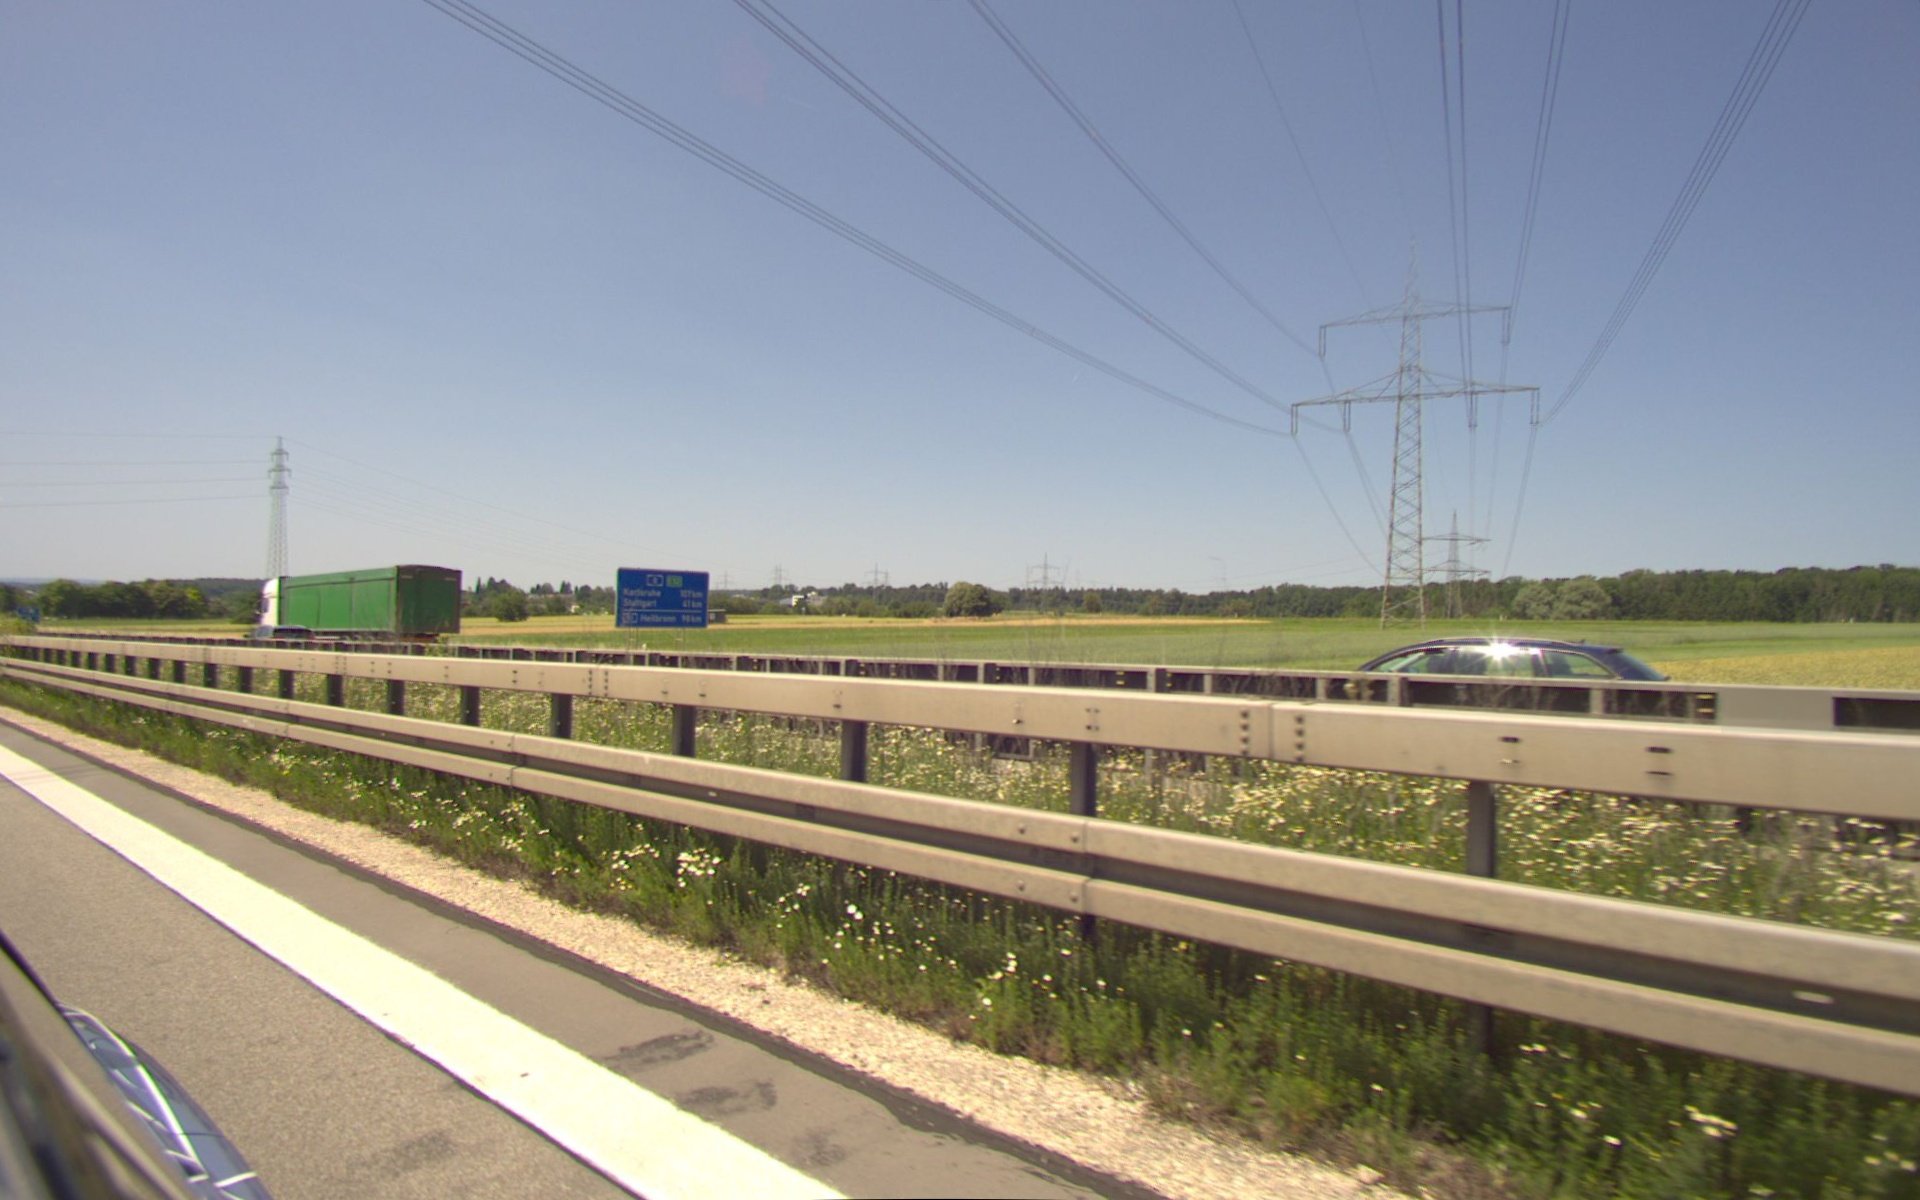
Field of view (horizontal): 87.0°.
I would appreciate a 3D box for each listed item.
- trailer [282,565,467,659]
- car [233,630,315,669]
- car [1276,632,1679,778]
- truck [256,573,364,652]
[{"bbox_3d":[-25.682,0.498,43.923,12.524,3.621,2.726,-1,0,40],"label":"trailer"},{"bbox_3d":[-26.721,1.907,39.382,3.998,1.476,1.617,-2,-4,41],"label":"car"},{"bbox_3d":[6.025,1.123,12.027,3.996,1.444,1.706,-1,-3,40],"label":"car"},{"bbox_3d":[-31.180,0.577,48.477,5.894,3.586,2.696,-1,0,39],"label":"truck"}]
